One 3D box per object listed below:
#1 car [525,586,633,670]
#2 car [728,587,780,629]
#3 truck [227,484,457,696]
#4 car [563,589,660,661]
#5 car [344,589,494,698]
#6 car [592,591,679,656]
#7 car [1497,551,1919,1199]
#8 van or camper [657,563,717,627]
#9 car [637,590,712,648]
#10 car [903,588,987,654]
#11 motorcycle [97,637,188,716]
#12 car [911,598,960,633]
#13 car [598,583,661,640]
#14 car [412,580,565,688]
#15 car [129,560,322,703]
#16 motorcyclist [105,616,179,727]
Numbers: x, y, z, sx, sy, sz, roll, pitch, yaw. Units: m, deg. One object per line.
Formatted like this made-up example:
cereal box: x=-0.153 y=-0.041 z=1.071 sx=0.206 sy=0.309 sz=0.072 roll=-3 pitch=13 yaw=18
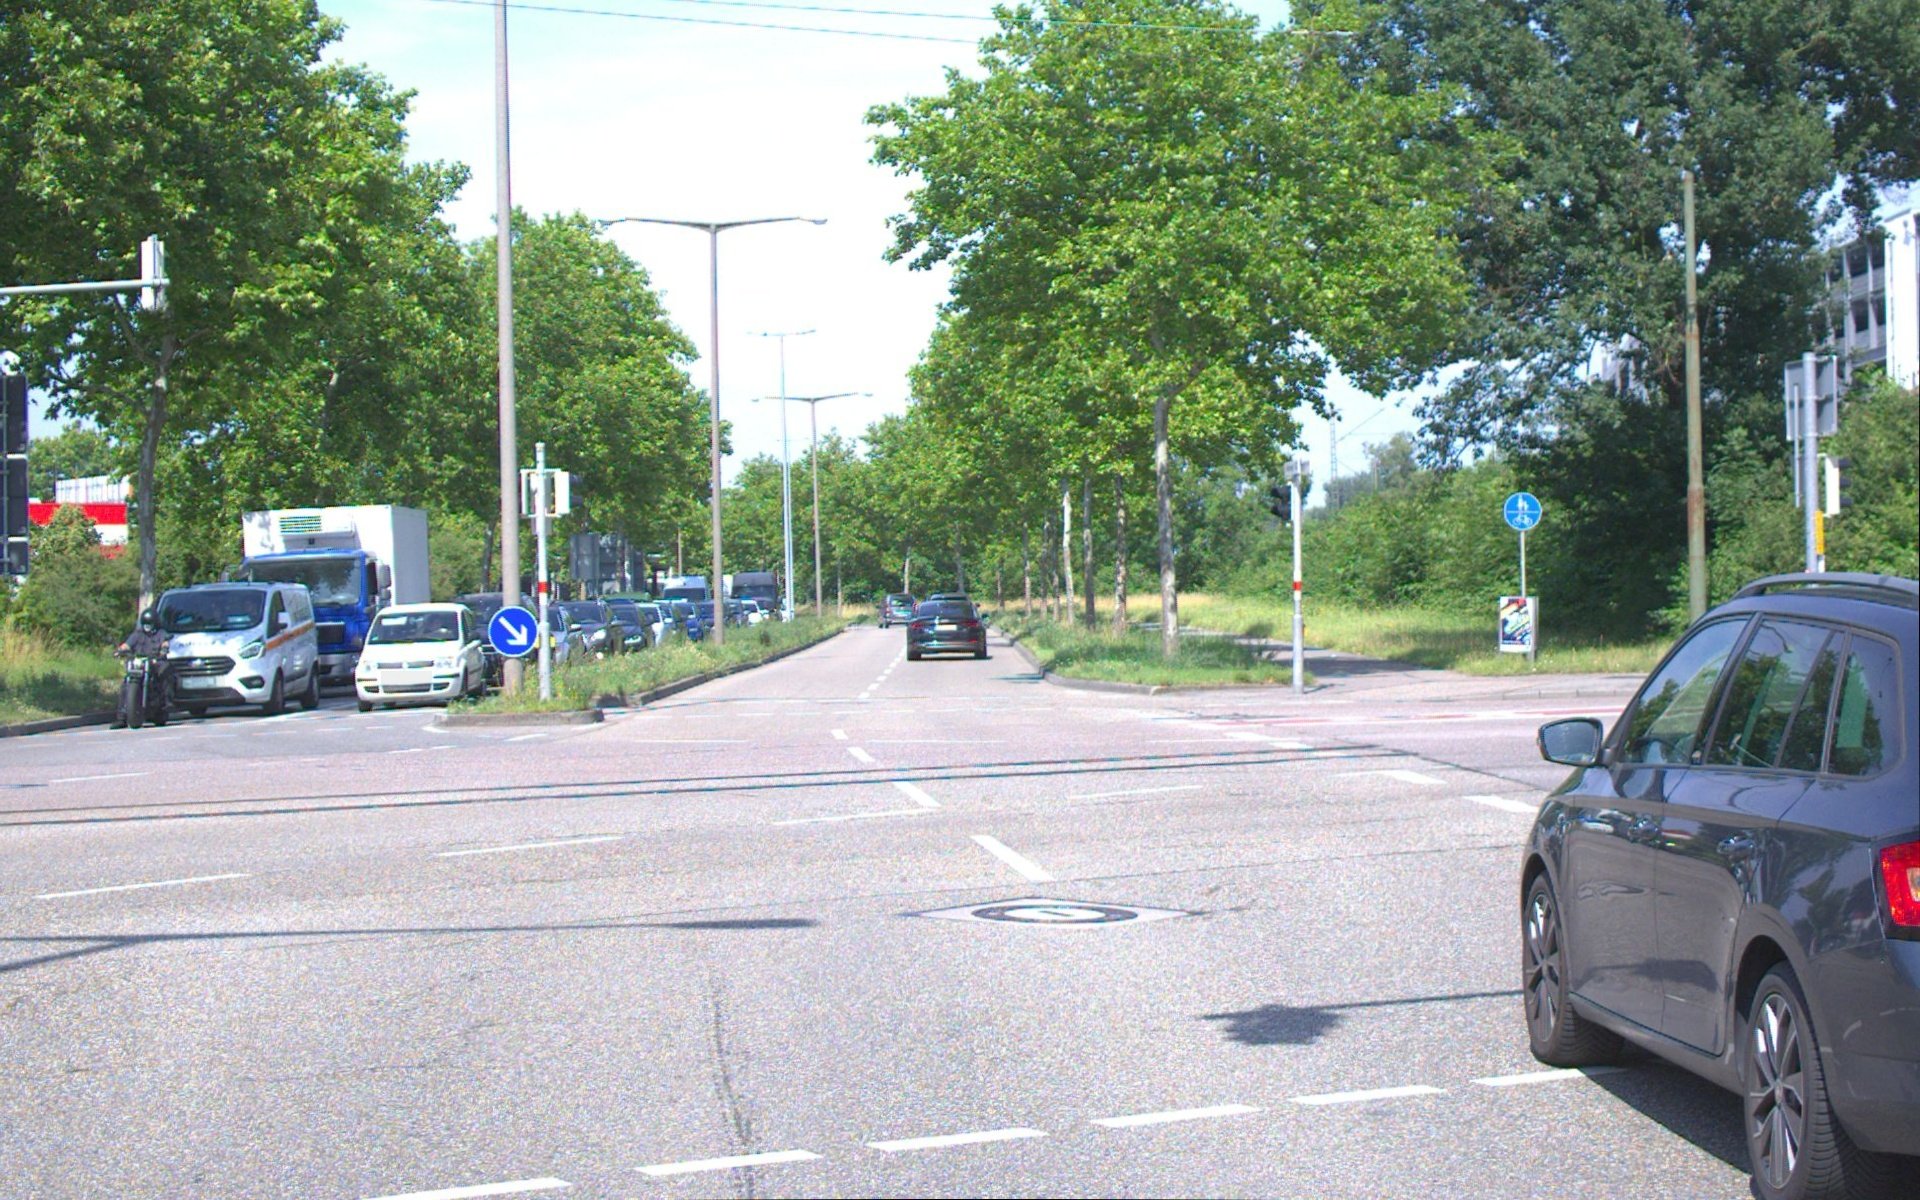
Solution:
car: x=-7.712 y=0.547 z=69.840 sx=1.689 sy=1.581 sz=4.240 roll=-2 pitch=0 yaw=0
car: x=-7.741 y=0.287 z=129.664 sx=1.689 sy=1.505 sz=3.815 roll=-2 pitch=0 yaw=0
truck: x=-10.968 y=-0.209 z=61.642 sx=2.804 sy=3.459 sz=6.691 roll=-3 pitch=1 yaw=0
car: x=-7.791 y=0.540 z=77.198 sx=1.689 sy=1.468 sz=4.218 roll=-3 pitch=0 yaw=0
car: x=-7.917 y=0.612 z=50.592 sx=1.593 sy=1.472 sz=3.729 roll=-2 pitch=0 yaw=0
car: x=-7.790 y=0.548 z=82.835 sx=1.689 sy=1.467 sz=3.815 roll=-2 pitch=0 yaw=0
car: x=2.561 y=0.623 z=8.751 sx=1.674 sy=1.448 sz=4.036 roll=1 pitch=0 yaw=-1
van or camper: x=-11.409 y=-0.227 z=143.930 sx=2.015 sy=2.579 sz=5.517 roll=-2 pitch=0 yaw=0
car: x=-7.912 y=0.508 z=95.532 sx=1.784 sy=1.484 sz=4.211 roll=-2 pitch=0 yaw=-1
car: x=-0.383 y=0.477 z=80.766 sx=1.908 sy=1.458 sz=4.622 roll=-1 pitch=0 yaw=-1
motorcycle: x=-10.959 y=1.009 z=46.143 sx=0.688 sy=0.988 sz=2.217 roll=-1 pitch=0 yaw=0
car: x=-1.114 y=0.671 z=154.166 sx=1.908 sy=1.458 sz=4.583 roll=-1 pitch=1 yaw=-3
car: x=-11.207 y=0.379 z=116.830 sx=1.689 sy=1.852 sz=4.036 roll=-2 pitch=0 yaw=0
car: x=-7.682 y=0.565 z=56.382 sx=1.820 sy=1.641 sz=4.694 roll=-2 pitch=-1 yaw=0
car: x=-10.873 y=0.428 z=51.228 sx=1.976 sy=1.992 sz=5.032 roll=-1 pitch=0 yaw=-3
motorcyclist: x=-10.992 y=0.951 z=46.237 sx=0.743 sy=1.465 sz=0.987 roll=-1 pitch=0 yaw=0
